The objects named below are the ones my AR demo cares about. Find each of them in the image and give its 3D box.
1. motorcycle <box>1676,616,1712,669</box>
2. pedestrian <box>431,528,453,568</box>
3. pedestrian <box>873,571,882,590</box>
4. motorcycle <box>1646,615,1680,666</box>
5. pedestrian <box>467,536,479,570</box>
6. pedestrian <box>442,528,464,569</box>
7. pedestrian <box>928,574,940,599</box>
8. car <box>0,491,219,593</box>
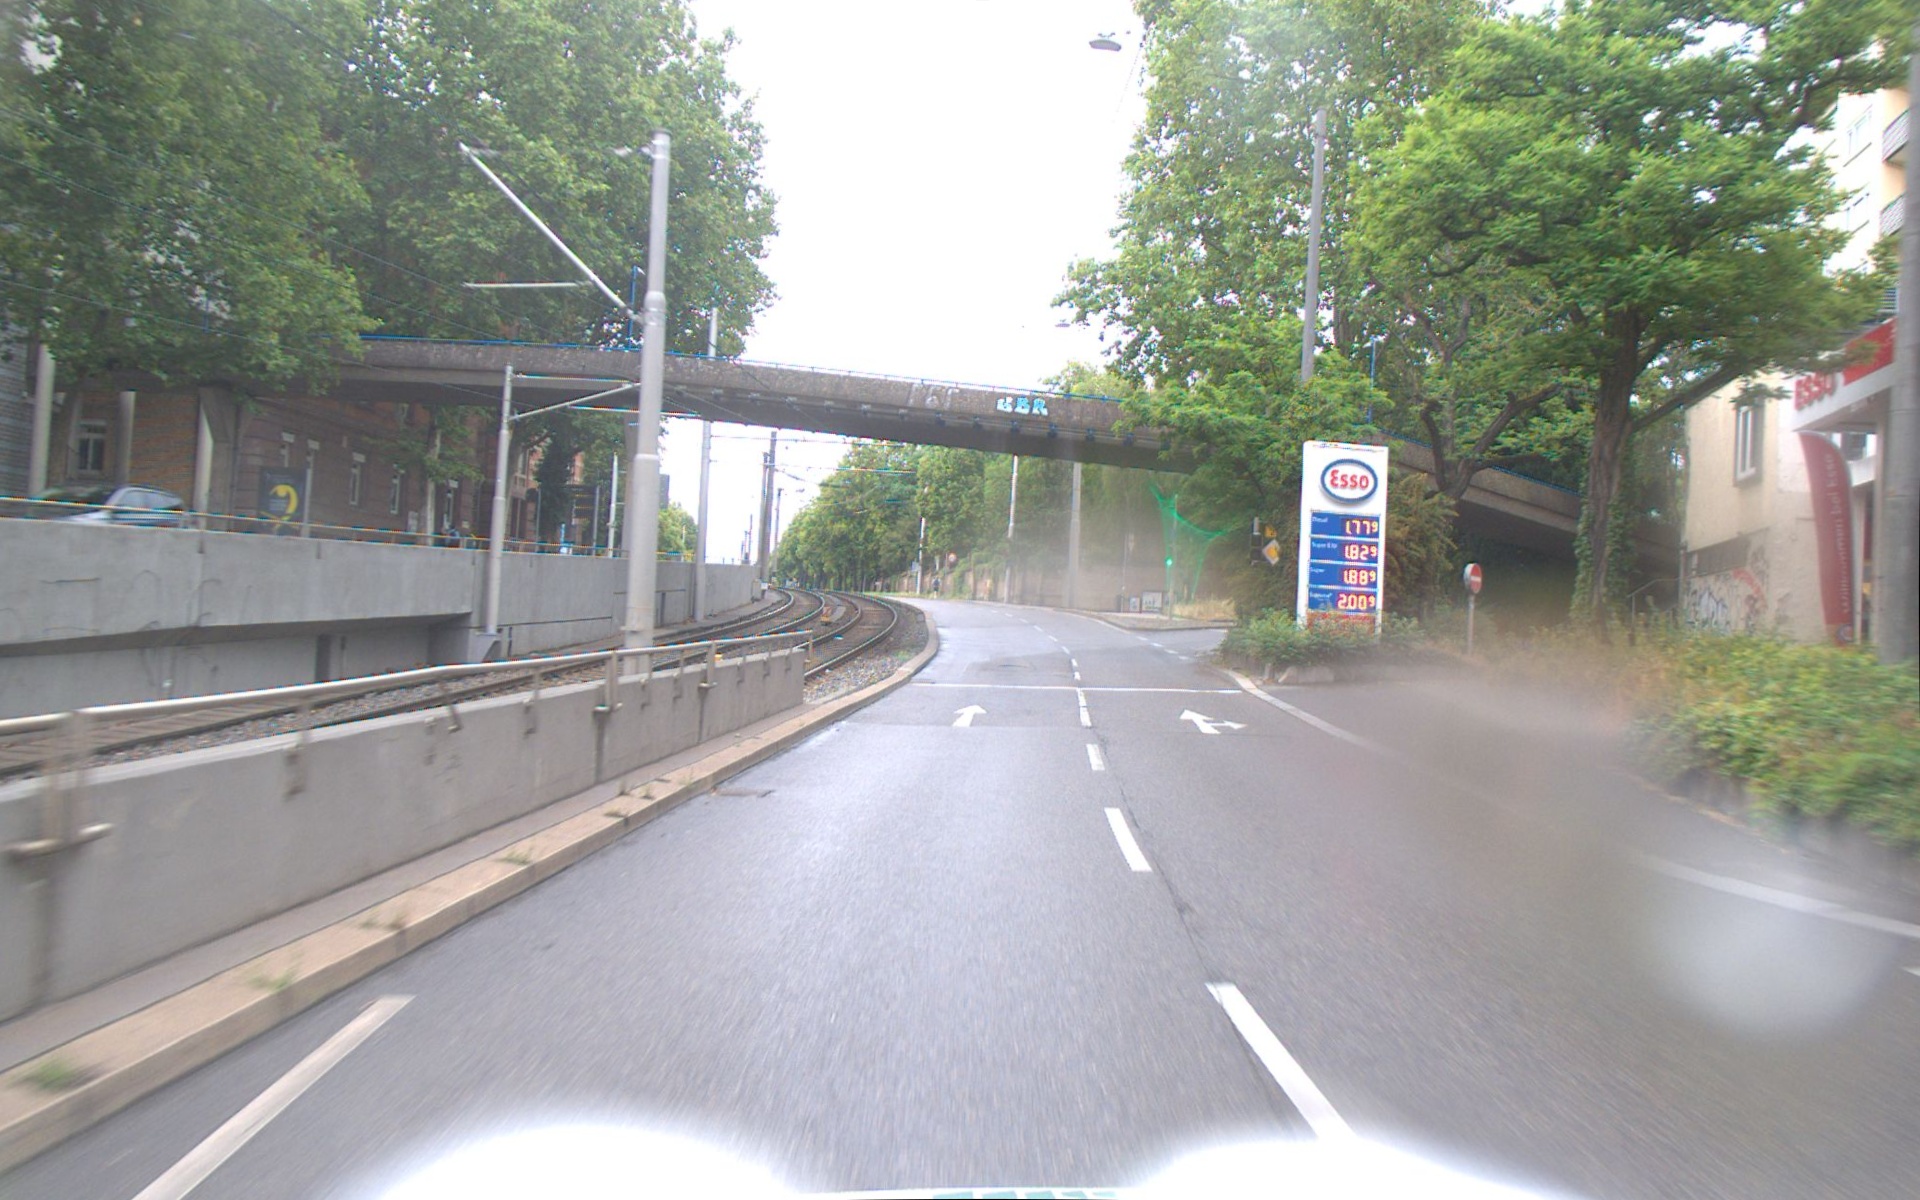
[{"bbox_3d":[18.040,1.032,40.693,0.522,1.211,1.765,1,1,15],"label":"motorcycle"},{"bbox_3d":[-21.352,-2.140,68.187,0.580,1.653,0.723,1,1,11],"label":"pedestrian"},{"bbox_3d":[-7.875,-1.883,158.384,0.706,1.716,0.727,4,-1,-9],"label":"pedestrian"},{"bbox_3d":[17.593,0.997,41.421,0.522,1.211,1.765,1,1,15],"label":"motorcycle"},{"bbox_3d":[-20.022,-1.926,68.015,0.327,1.357,0.504,1,1,-3],"label":"pedestrian"},{"bbox_3d":[-20.700,-2.085,67.550,0.580,1.653,0.723,1,1,11],"label":"pedestrian"},{"bbox_3d":[-2.019,-1.037,128.892,0.706,1.882,0.781,4,-1,-9],"label":"pedestrian"},{"bbox_3d":[-15.090,-0.980,29.234,1.757,1.536,4.110,5,0,5],"label":"car"}]
